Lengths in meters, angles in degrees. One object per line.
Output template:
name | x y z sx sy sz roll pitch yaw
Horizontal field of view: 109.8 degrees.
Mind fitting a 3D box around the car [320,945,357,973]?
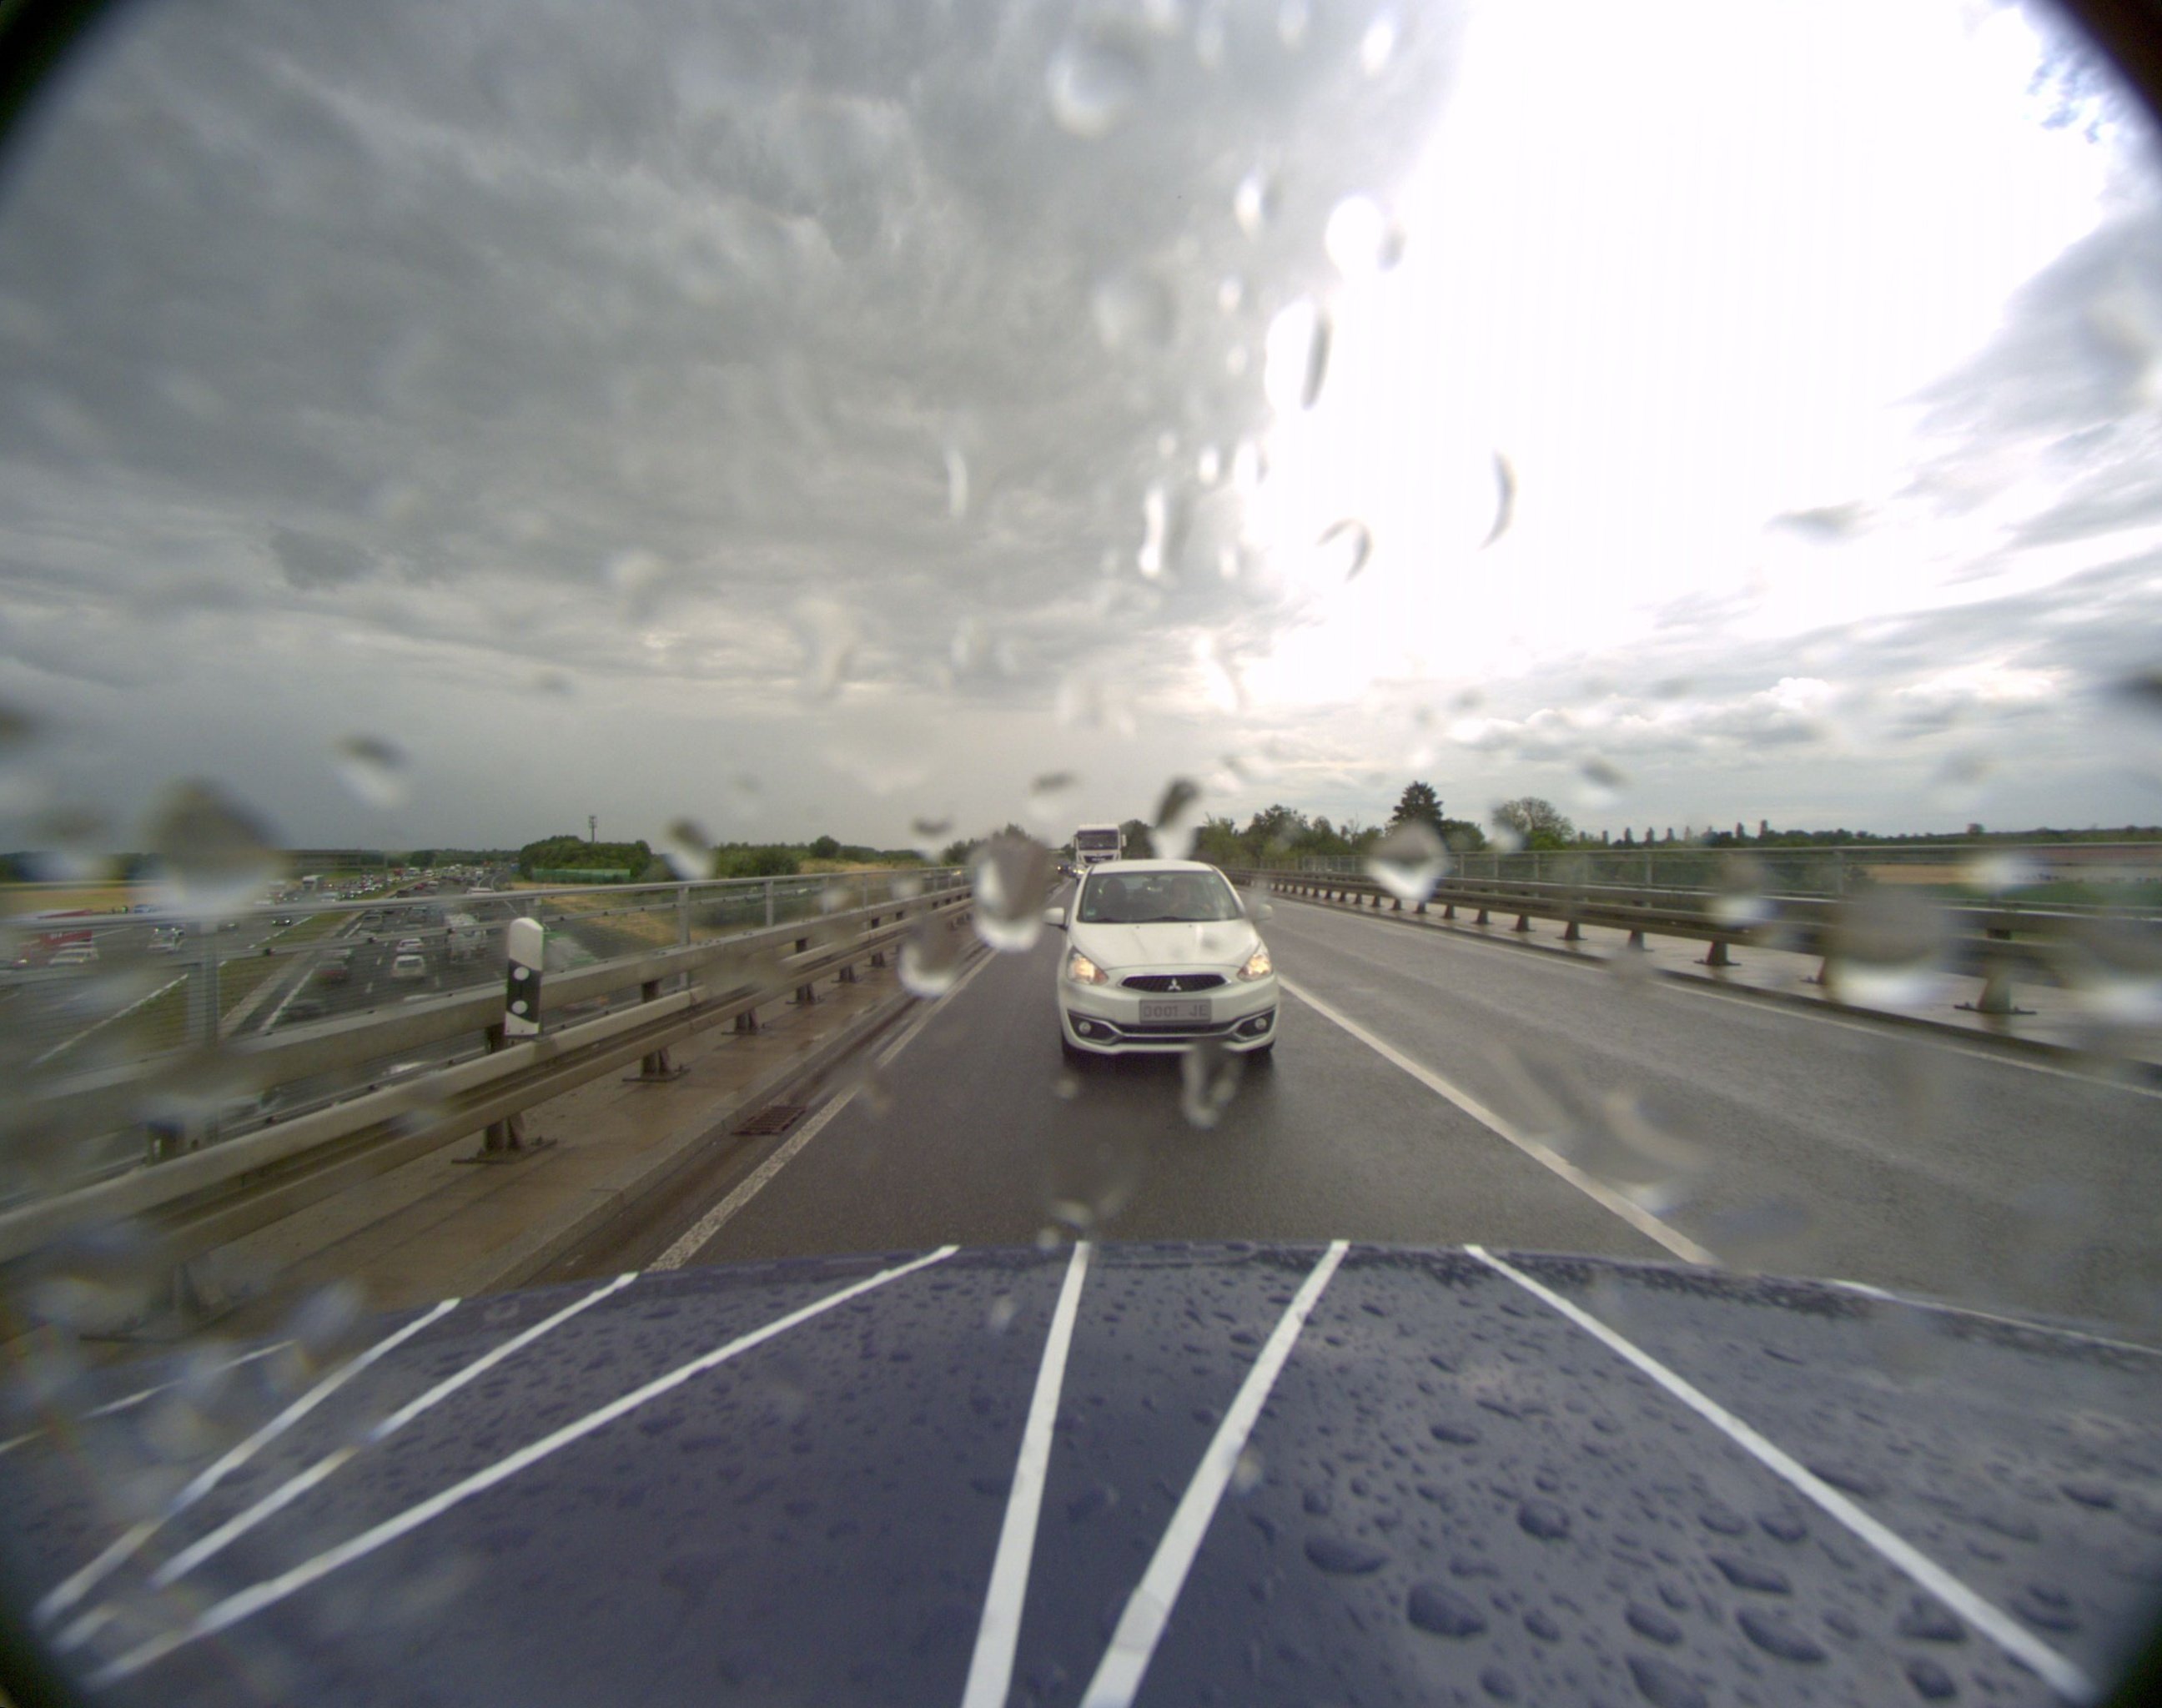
car | -63.725 9.016 65.257 1.860 1.764 4.712 -3 1 -40

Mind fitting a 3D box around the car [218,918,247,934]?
car | -109.739 9.289 98.274 1.818 1.659 4.711 -3 1 -40

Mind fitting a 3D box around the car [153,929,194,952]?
car | -91.173 8.629 76.375 1.818 1.836 4.711 -3 1 -41

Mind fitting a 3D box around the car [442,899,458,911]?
car | -103.221 8.333 124.287 1.860 1.764 4.712 -3 1 -40

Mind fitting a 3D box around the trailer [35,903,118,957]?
trailer | -99.678 7.390 75.589 2.691 4.602 9.882 -3 1 -41

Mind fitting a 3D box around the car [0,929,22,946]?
car | -114.224 8.890 80.147 1.818 1.428 4.711 -3 1 -41

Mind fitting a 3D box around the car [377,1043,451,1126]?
car | -24.830 8.501 28.408 1.860 1.659 4.712 -3 1 -40

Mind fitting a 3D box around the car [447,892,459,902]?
car | -126.264 8.651 152.777 1.860 1.764 4.712 -3 1 -40

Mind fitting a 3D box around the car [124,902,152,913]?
car | -147.977 8.354 119.263 1.818 1.428 4.711 -3 1 -41

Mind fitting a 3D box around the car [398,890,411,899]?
car | -149.253 8.817 167.585 1.860 1.764 4.712 -3 1 -40

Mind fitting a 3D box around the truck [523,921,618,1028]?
truck | -34.503 7.602 50.909 3.302 5.135 15.588 -3 1 -40

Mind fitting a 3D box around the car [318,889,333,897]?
car | -170.044 8.823 170.980 1.860 1.659 4.712 -3 1 -40

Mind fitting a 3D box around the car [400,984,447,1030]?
car | -36.634 8.475 42.426 1.860 1.659 4.712 -3 1 -40

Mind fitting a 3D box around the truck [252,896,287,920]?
truck | -128.425 8.508 120.374 2.601 3.161 8.373 -3 1 -40

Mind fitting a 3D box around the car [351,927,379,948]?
car | -77.306 8.973 82.050 1.860 1.764 4.712 -3 1 -40

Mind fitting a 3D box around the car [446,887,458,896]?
car | -137.581 8.178 166.168 1.860 1.764 4.712 -3 1 -40

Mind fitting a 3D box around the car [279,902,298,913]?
car | -141.411 9.587 135.630 1.818 1.659 4.711 -3 1 -40

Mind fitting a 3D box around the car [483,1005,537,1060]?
car | -28.694 8.867 38.109 1.860 1.659 4.712 -3 1 -40

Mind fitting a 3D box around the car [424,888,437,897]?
car | -140.923 8.313 164.618 1.860 1.764 4.712 -3 1 -40

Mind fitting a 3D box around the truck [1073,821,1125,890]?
truck | 0.956 -0.091 44.467 2.631 3.537 8.474 -2 3 0

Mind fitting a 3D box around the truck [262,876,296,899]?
truck | -180.793 7.493 171.401 2.799 4.871 12.723 -3 1 -36

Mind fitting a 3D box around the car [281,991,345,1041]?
car | -40.442 8.481 40.093 1.860 1.659 4.712 -3 1 -40

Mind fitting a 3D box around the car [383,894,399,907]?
car | -125.179 8.427 137.794 2.003 2.002 3.989 -6 3 -43

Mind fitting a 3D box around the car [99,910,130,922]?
car | -137.959 8.808 108.469 1.818 1.428 4.711 -3 1 -41

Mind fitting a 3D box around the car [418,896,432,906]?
car | -124.938 8.922 144.800 1.860 1.764 4.712 -3 1 -40

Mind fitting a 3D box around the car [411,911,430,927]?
car | -93.047 9.141 107.039 1.860 1.764 4.712 -3 1 -40

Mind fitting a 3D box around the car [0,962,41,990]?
car | -77.292 8.827 54.692 1.818 1.428 4.711 -3 1 -41

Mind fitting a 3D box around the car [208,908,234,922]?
car | -123.719 8.738 109.326 1.818 1.659 4.711 -3 1 -40

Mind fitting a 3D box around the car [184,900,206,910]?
car | -157.506 9.079 135.113 1.818 1.428 4.711 -3 1 -41

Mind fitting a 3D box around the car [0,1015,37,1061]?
car | -53.464 9.148 37.019 1.818 1.659 4.712 -3 1 -39

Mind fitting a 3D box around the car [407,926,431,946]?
car | -74.192 9.176 85.213 1.860 1.764 4.712 -3 1 -40

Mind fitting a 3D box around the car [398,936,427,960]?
car | -63.056 8.836 71.770 1.860 1.764 4.712 -3 1 -40

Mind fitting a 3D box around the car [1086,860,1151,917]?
car | 1.018 0.927 22.250 1.675 1.366 4.129 -2 1 1

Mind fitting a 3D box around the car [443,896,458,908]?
car | -113.581 8.618 136.862 1.860 1.764 4.712 -3 1 -40

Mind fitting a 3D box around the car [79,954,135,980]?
car | -77.688 8.986 60.682 1.818 1.428 4.711 -3 1 -41

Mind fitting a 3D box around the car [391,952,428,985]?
car | -49.758 8.423 56.365 1.860 1.764 4.712 -3 1 -40

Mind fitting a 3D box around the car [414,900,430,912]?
car | -111.884 8.852 129.007 1.860 1.764 4.712 -3 1 -40

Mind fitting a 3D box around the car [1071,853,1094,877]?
car | 0.191 1.057 73.594 1.998 2.002 3.999 -5 2 1

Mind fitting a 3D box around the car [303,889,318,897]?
car | -178.740 9.072 176.231 1.860 1.659 4.712 -3 1 -40

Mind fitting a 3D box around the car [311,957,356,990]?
car | -53.902 8.580 54.870 1.860 1.659 4.712 -3 1 -40

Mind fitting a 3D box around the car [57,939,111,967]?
car | -85.678 8.487 65.381 1.818 1.873 4.711 -3 1 -41

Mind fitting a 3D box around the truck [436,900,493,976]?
truck | -54.878 7.097 67.404 3.302 5.411 15.588 -3 1 -40

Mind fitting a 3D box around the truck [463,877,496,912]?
truck | -100.137 6.567 126.351 3.499 5.321 15.588 -3 1 -40

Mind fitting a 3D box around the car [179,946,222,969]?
car | -77.967 9.101 67.339 1.818 1.428 4.711 -3 1 -41

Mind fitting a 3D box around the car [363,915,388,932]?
car | -86.098 8.456 92.789 1.860 1.764 4.712 -3 1 -40

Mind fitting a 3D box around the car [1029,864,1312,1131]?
car | 0.573 0.910 6.707 1.675 1.476 4.129 -2 1 1

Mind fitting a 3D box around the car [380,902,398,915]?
car | -112.003 8.797 123.014 1.860 1.764 4.712 -3 1 -40

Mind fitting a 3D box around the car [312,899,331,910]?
car | -135.445 8.944 135.520 1.860 1.659 4.712 -3 1 -40

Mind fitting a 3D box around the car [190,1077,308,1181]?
car | -26.620 8.693 24.476 1.860 1.659 4.712 -3 1 -40

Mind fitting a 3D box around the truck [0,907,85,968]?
truck | -93.286 7.323 68.138 2.691 4.599 9.727 -3 1 -41

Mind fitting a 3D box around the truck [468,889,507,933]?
truck | -84.309 7.896 107.797 3.499 5.321 15.588 -3 1 -40
